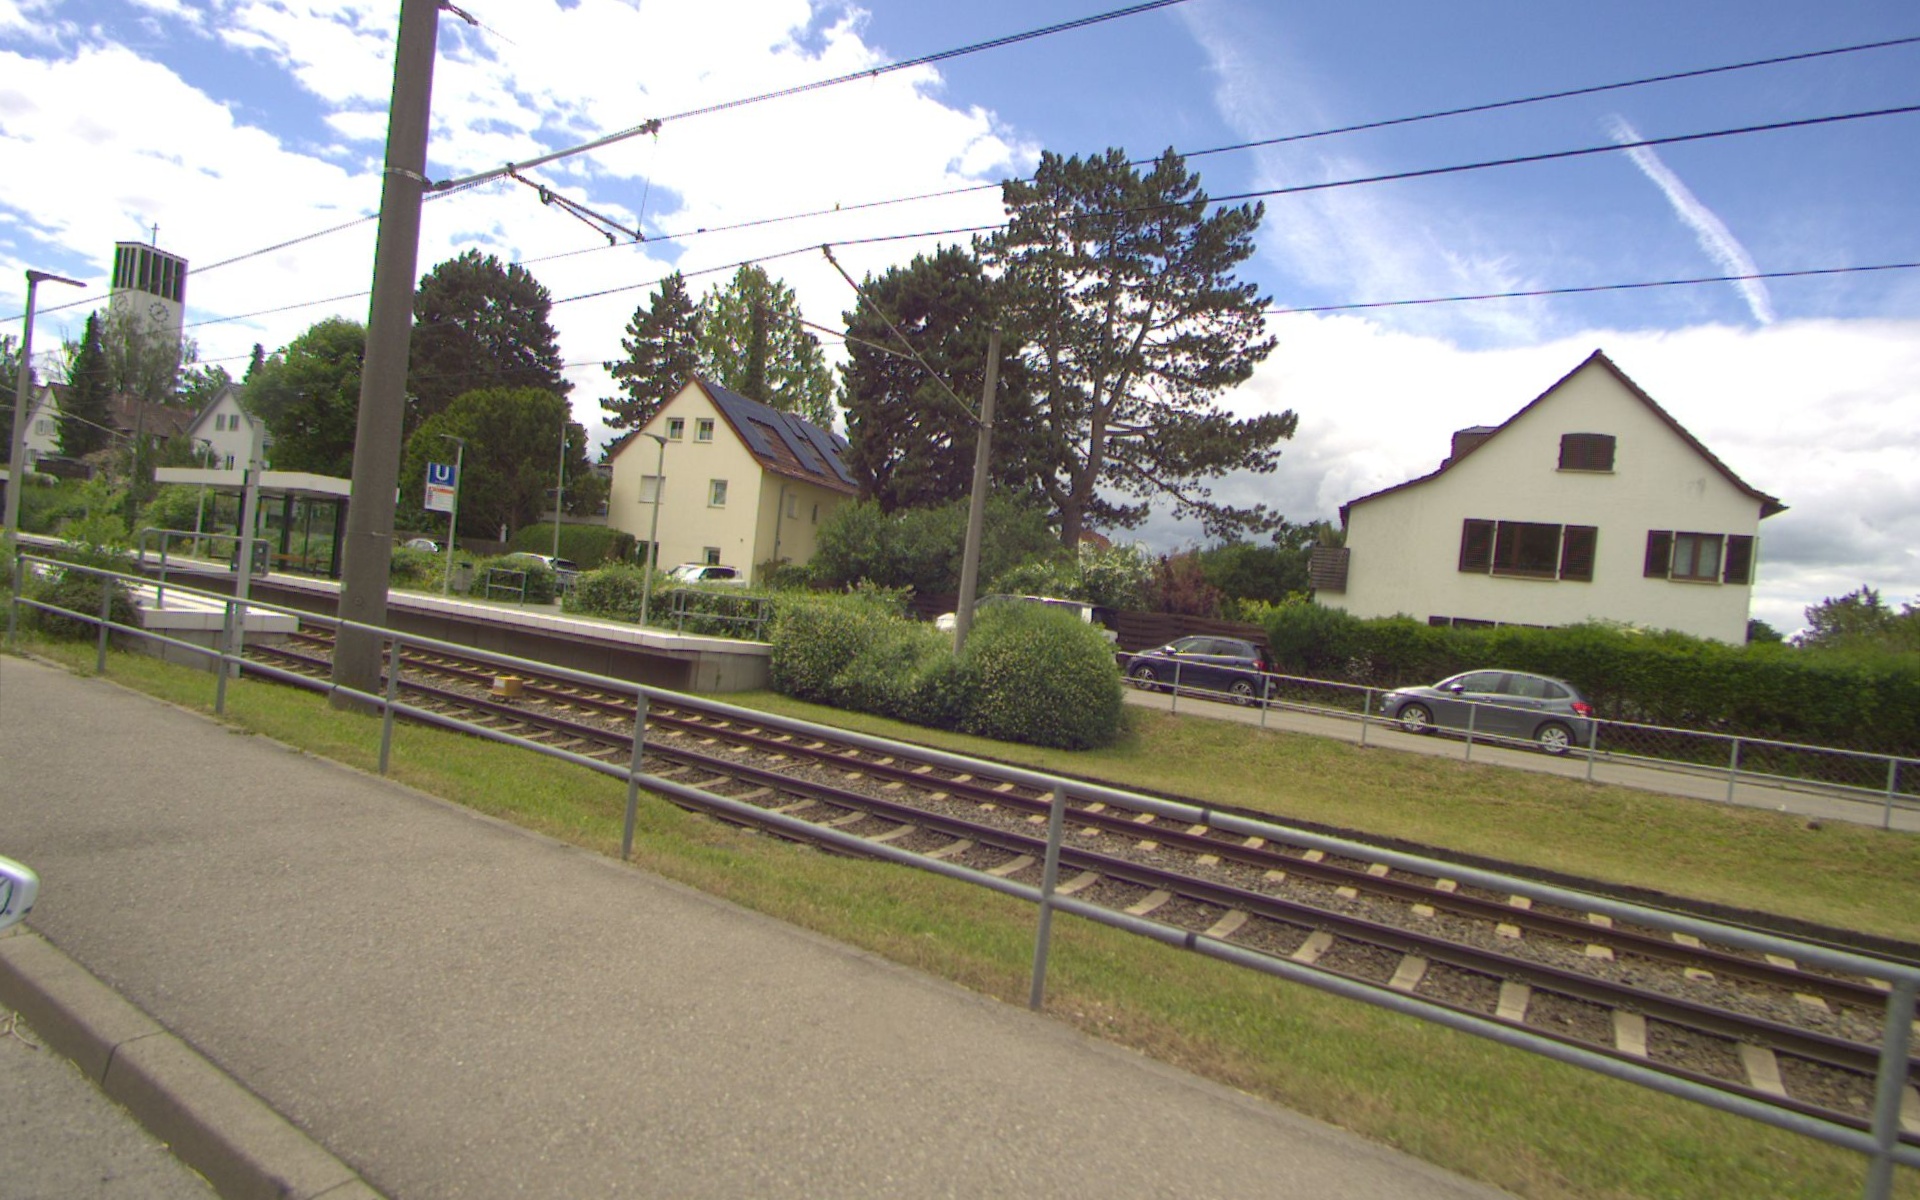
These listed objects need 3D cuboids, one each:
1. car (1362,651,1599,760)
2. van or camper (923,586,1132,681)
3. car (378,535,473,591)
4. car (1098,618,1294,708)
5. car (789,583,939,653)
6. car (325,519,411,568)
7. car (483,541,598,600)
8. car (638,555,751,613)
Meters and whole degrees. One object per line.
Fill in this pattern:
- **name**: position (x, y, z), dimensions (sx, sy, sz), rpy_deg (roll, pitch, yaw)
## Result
- **car**: position (10.425, 2.060, 20.216), dimensions (3.935, 1.540, 1.885), rpy_deg (6, -1, 33)
- **van or camper**: position (1.675, 0.844, 25.990), dimensions (4.968, 1.848, 1.906), rpy_deg (6, -1, 35)
- **car**: position (-22.537, -1.575, 42.388), dimensions (3.872, 1.936, 1.735), rpy_deg (5, -3, 34)
- **car**: position (5.488, 1.457, 23.535), dimensions (3.937, 1.539, 1.886), rpy_deg (6, -2, 35)
- **car**: position (-2.807, 0.503, 29.226), dimensions (3.937, 1.540, 1.884), rpy_deg (6, -1, 35)
- **car**: position (-26.690, -2.545, 45.332), dimensions (3.873, 1.772, 1.734), rpy_deg (6, -1, 35)
- **car**: position (-15.878, -1.117, 38.062), dimensions (3.930, 1.682, 1.780), rpy_deg (7, -1, 28)
- **car**: position (-10.424, -0.598, 39.826), dimensions (1.716, 1.969, 4.332), rpy_deg (7, 2, 28)
